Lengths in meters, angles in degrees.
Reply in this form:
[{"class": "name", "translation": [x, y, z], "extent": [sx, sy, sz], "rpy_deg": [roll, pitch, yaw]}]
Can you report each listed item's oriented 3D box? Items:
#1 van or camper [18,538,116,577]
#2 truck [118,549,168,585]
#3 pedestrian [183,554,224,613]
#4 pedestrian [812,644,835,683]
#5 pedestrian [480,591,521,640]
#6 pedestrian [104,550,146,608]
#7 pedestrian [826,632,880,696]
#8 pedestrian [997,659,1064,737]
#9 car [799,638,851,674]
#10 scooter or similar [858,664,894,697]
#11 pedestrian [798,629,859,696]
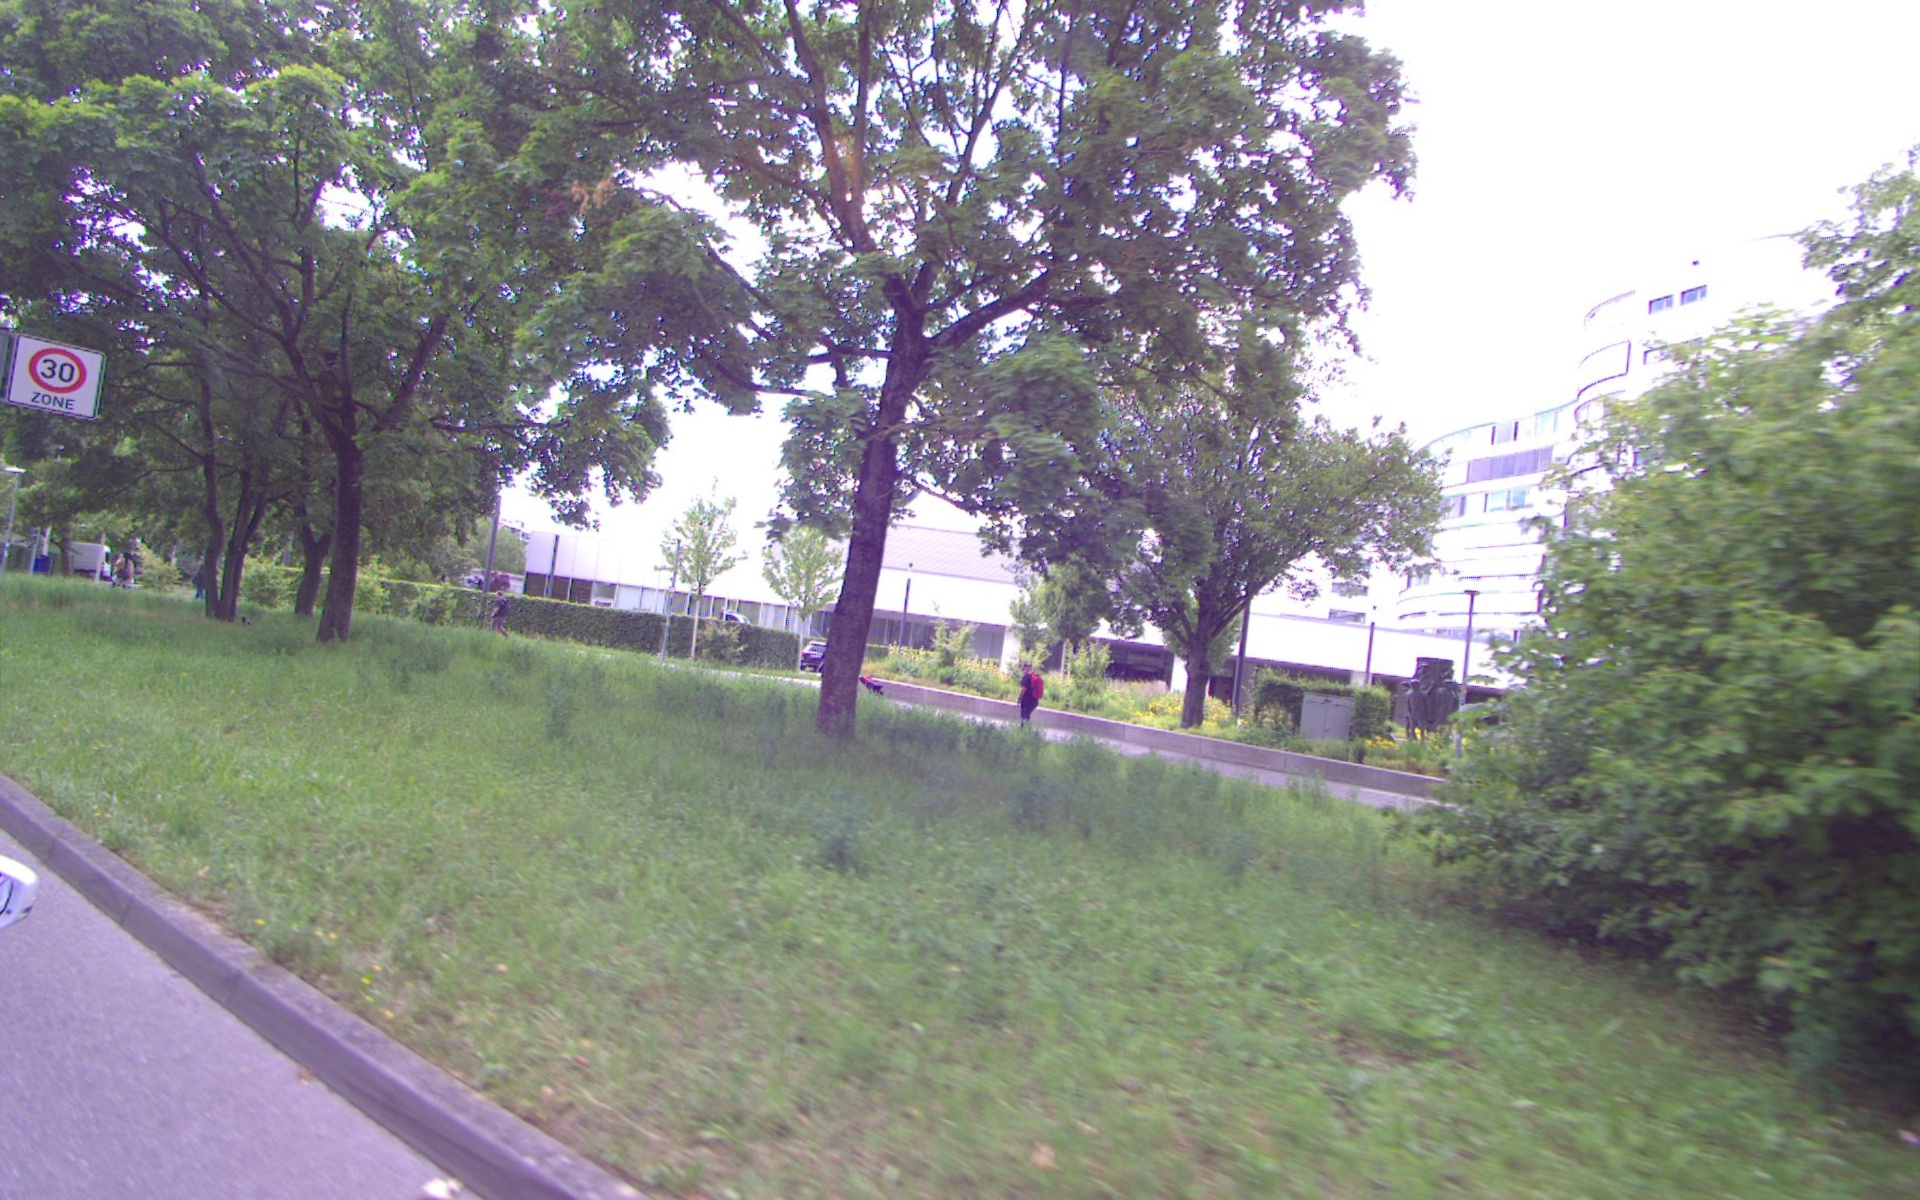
[{"class": "van or camper", "translation": [-62.079, -2.928, 70.033], "extent": [4.630, 1.936, 1.762], "rpy_deg": [8, -2, -25]}, {"class": "truck", "translation": [-62.726, -2.514, 77.339], "extent": [2.314, 2.321, 5.842], "rpy_deg": [10, -4, -35]}, {"class": "pedestrian", "translation": [-23.939, -0.536, 31.839], "extent": [0.770, 1.742, 0.816], "rpy_deg": [9, -2, -33]}, {"class": "pedestrian", "translation": [-4.376, 2.031, 32.349], "extent": [0.595, 1.173, 0.649], "rpy_deg": [7, -3, -7]}, {"class": "pedestrian", "translation": [-14.897, 0.511, 32.614], "extent": [0.685, 1.468, 0.836], "rpy_deg": [8, -2, 6]}, {"class": "pedestrian", "translation": [-26.954, -0.691, 32.495], "extent": [0.770, 1.742, 0.816], "rpy_deg": [9, -2, -35]}, {"class": "pedestrian", "translation": [-2.952, 1.762, 27.852], "extent": [0.918, 1.624, 0.953], "rpy_deg": [4, -4, 40]}, {"class": "pedestrian", "translation": [1.469, 2.047, 20.991], "extent": [0.968, 1.468, 0.759], "rpy_deg": [6, -3, 35]}, {"class": "car", "translation": [-6.498, 2.743, 48.667], "extent": [1.480, 1.438, 3.110], "rpy_deg": [7, -3, 10]}, {"class": "scooter or similar", "translation": [-2.289, 2.205, 27.442], "extent": [0.663, 0.790, 0.634], "rpy_deg": [3, -4, 40]}, {"class": "pedestrian", "translation": [-3.220, 1.526, 24.706], "extent": [0.968, 1.468, 0.878], "rpy_deg": [6, -3, 35]}]
